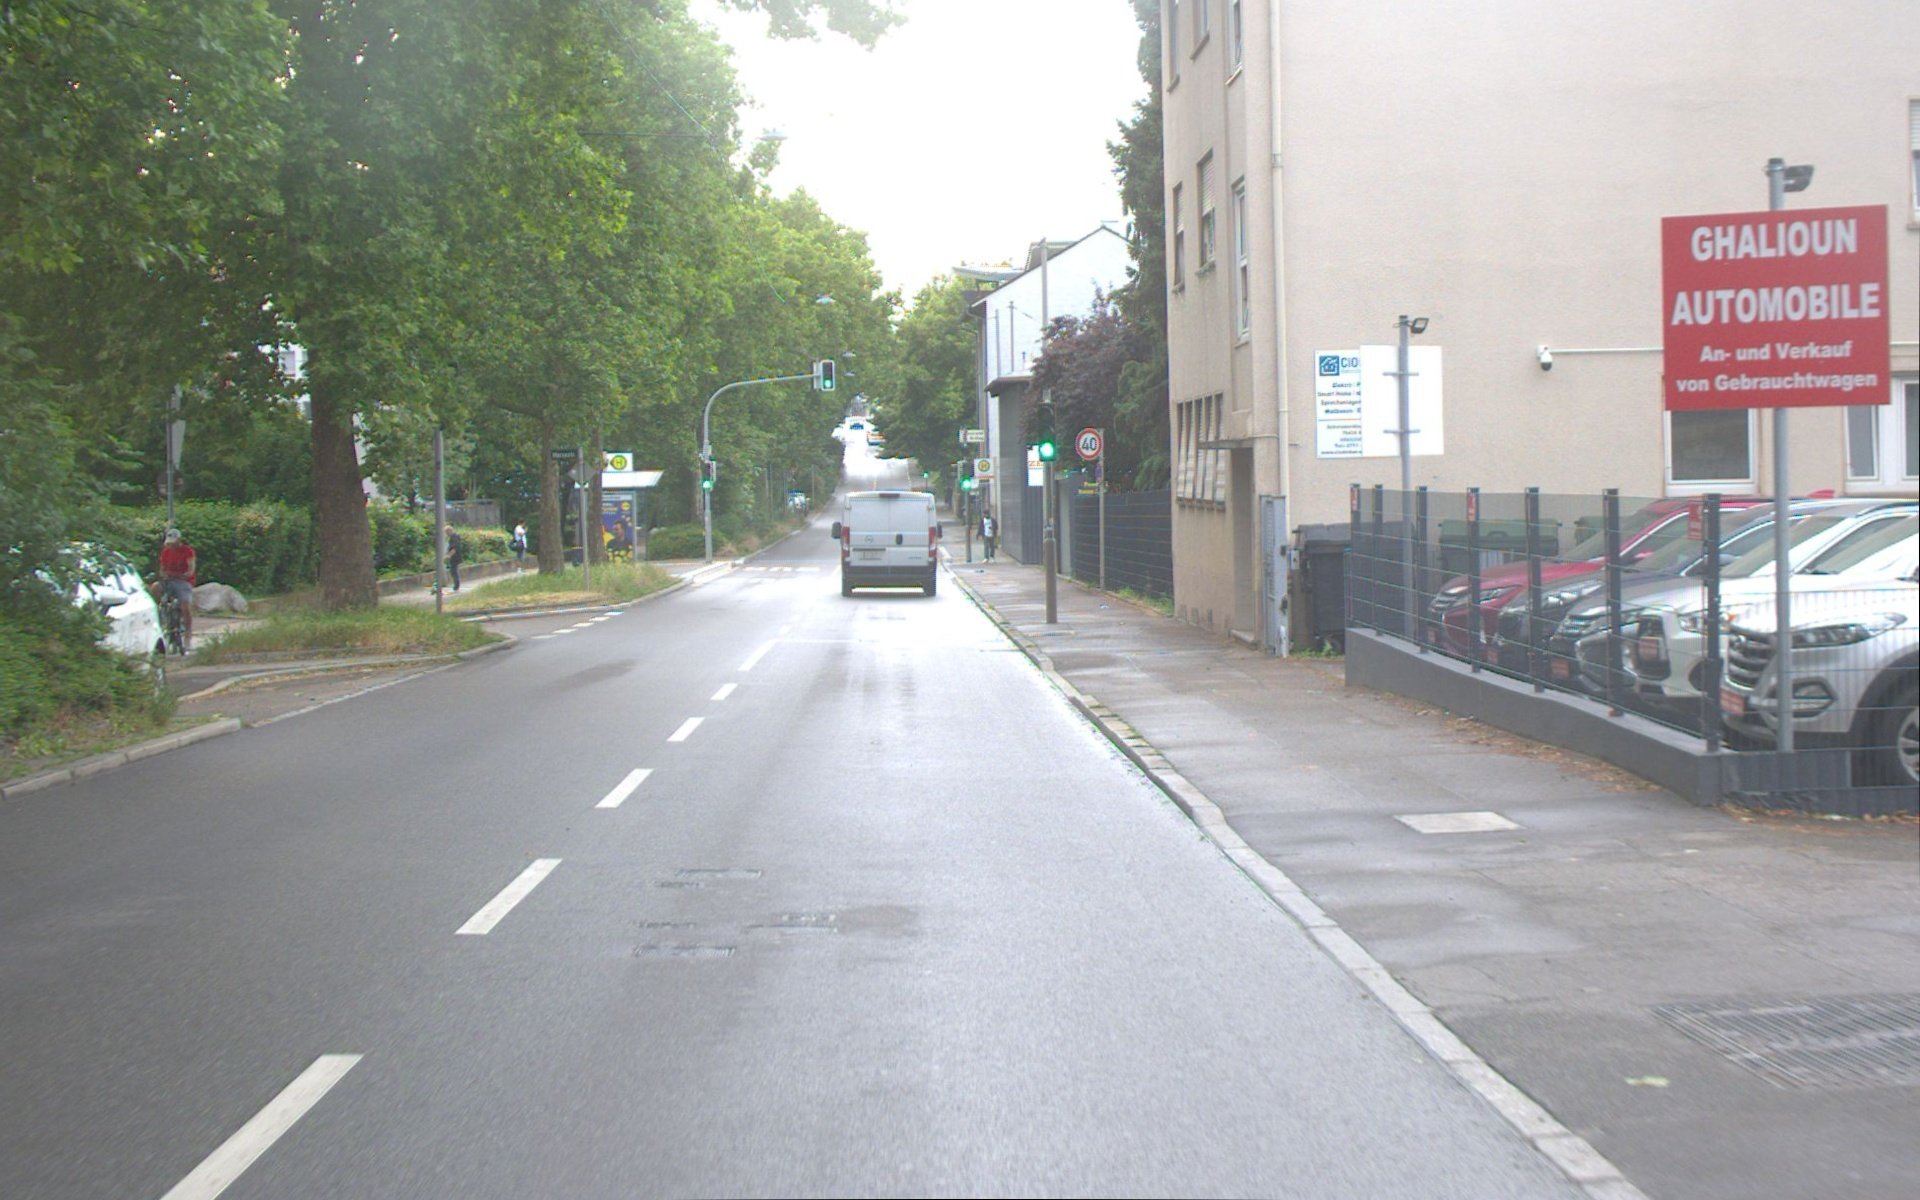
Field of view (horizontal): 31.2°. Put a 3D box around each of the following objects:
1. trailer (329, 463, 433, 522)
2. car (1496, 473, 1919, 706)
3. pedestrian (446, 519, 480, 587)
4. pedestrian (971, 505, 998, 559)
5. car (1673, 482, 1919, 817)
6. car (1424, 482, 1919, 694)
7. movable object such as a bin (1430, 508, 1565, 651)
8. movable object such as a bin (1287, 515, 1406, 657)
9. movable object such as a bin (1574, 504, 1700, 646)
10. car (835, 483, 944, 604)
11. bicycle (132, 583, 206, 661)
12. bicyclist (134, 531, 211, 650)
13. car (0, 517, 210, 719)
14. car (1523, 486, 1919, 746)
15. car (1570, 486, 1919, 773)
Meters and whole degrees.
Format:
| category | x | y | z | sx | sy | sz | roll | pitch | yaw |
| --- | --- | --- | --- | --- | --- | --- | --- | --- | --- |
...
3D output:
| category | x | y | z | sx | sy | sz | roll | pitch | yaw |
| --- | --- | --- | --- | --- | --- | --- | --- | --- | --- |
| trailer | -16.578 | -3.065 | 98.470 | 2.704 | 1.639 | 1.480 | 1 | 1 | 0 |
| car | 6.521 | -0.075 | 27.181 | 4.228 | 1.730 | 1.870 | 1 | 0 | -1 |
| pedestrian | -11.982 | -1.133 | 82.909 | 0.755 | 1.605 | 0.835 | 1 | 0 | -5 |
| pedestrian | 0.777 | -2.143 | 108.748 | 0.742 | 1.698 | 0.902 | 1 | 0 | -6 |
| car | 6.363 | 0.273 | 19.205 | 4.302 | 1.762 | 2.000 | 1 | 0 | -1 |
| car | 6.310 | -0.102 | 29.947 | 4.228 | 1.730 | 1.870 | 1 | 0 | -1 |
| movable object such as a bin | 5.942 | -0.228 | 38.057 | 1.234 | 1.504 | 1.111 | -3 | 0 | -2 |
| movable object such as a bin | 4.277 | -0.154 | 38.112 | 1.110 | 1.504 | 0.987 | -3 | 0 | -2 |
| movable object such as a bin | 7.489 | -0.275 | 38.078 | 1.110 | 1.504 | 1.010 | -3 | 0 | -2 |
| car | -1.521 | -1.199 | 74.551 | 2.282 | 2.544 | 4.000 | 0 | 0 | -1 |
| bicycle | -10.431 | 0.280 | 45.386 | 0.554 | 0.992 | 2.266 | 1 | 0 | -3 |
| bicyclist | -10.410 | -0.125 | 45.460 | 0.832 | 1.547 | 0.817 | 1 | 0 | -2 |
| car | -7.604 | 0.090 | 28.853 | 1.785 | 1.545 | 4.352 | 0 | 2 | -2 |
| car | 6.183 | 0.118 | 24.260 | 4.066 | 1.730 | 1.870 | 1 | 0 | -1 |
| car | 6.023 | 0.185 | 21.778 | 3.948 | 1.718 | 1.791 | 1 | 1 | -1 |
